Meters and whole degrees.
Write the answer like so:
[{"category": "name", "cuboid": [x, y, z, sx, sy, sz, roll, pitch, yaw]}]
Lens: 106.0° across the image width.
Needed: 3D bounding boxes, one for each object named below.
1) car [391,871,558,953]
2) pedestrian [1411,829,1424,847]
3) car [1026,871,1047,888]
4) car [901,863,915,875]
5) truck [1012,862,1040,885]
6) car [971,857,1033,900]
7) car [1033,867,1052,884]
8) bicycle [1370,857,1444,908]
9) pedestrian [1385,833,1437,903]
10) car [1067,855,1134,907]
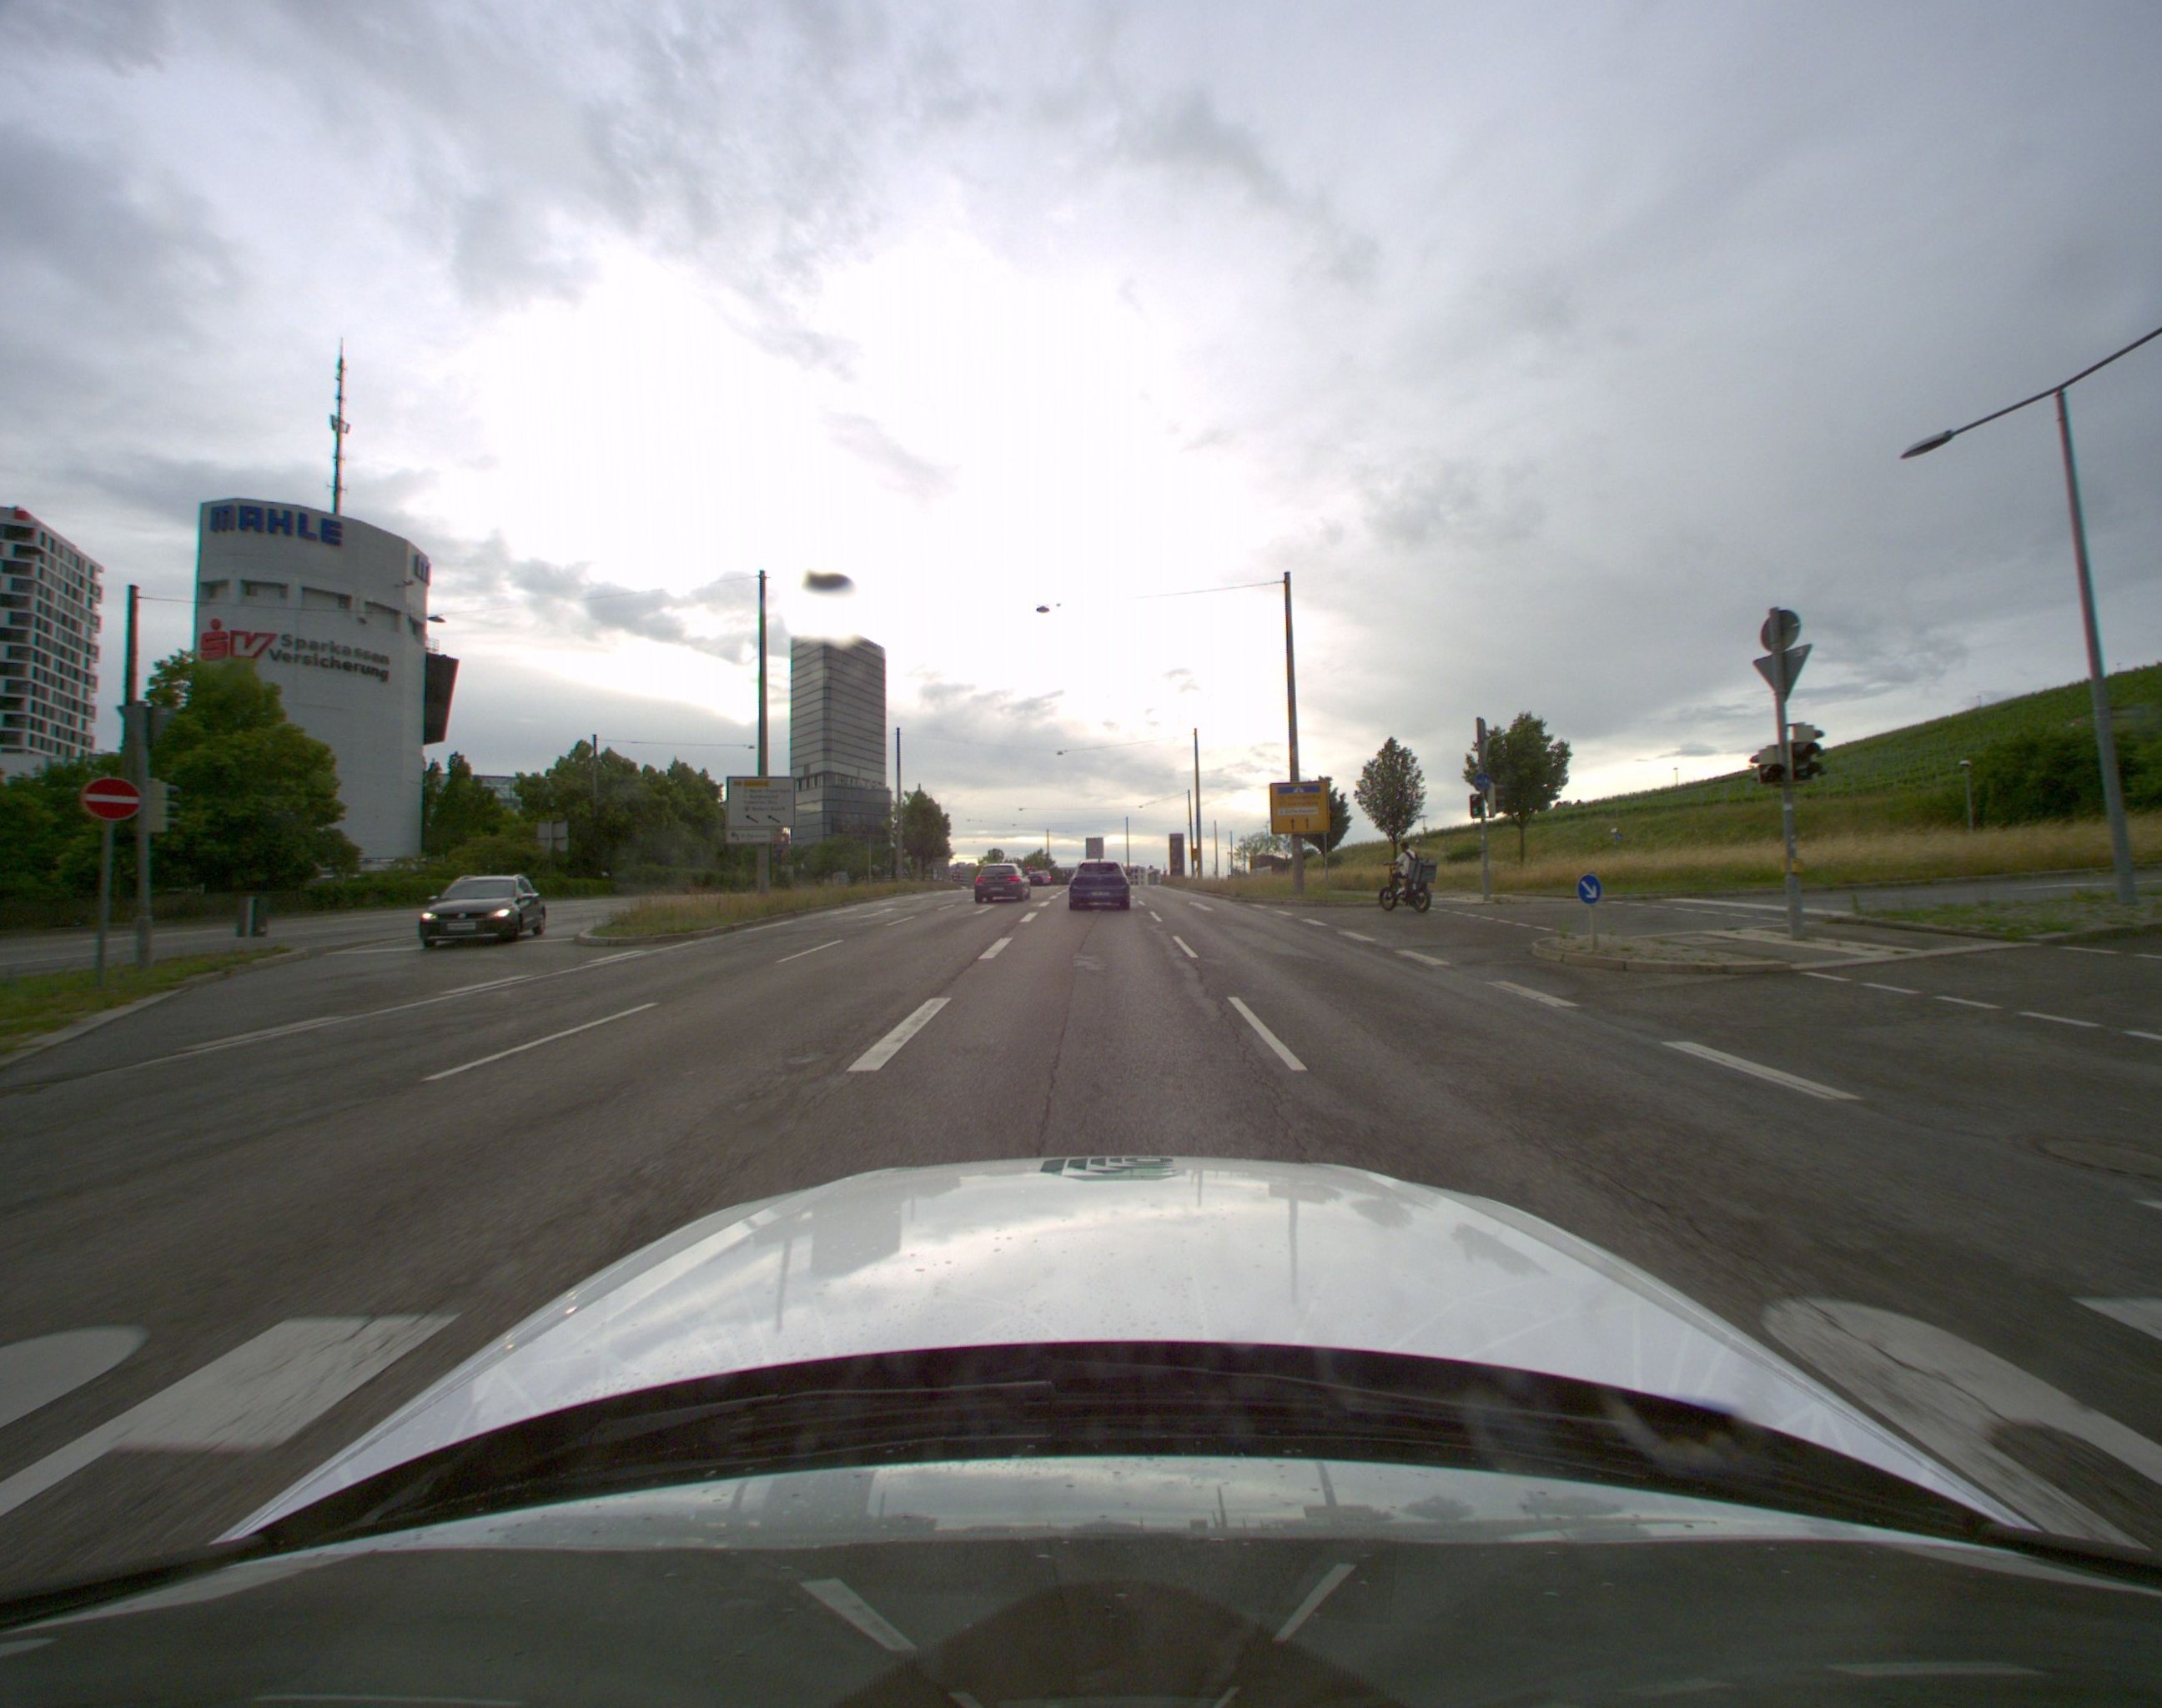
[{"category": "car", "cuboid": [-13.333, 1.184, 18.209, 1.896, 1.507, 3.972, -2, 0, -21]}, {"category": "pedestrian", "cuboid": [38.248, -1.807, 92.499, 0.784, 2.013, 1.044, -3, 0, -31]}, {"category": "car", "cuboid": [-4.456, 2.597, 82.566, 1.714, 1.541, 3.707, 1, 0, 3]}, {"category": "car", "cuboid": [-24.983, 2.192, 117.517, 1.894, 1.658, 4.585, -1, -1, -12]}, {"category": "truck", "cuboid": [-7.781, 2.795, 115.400, 2.672, 3.220, 6.512, 0, -2, -16]}, {"category": "car", "cuboid": [-2.919, 0.878, 30.772, 1.863, 1.461, 3.976, -1, 0, 1]}, {"category": "car", "cuboid": [-4.727, 2.635, 99.023, 1.902, 1.973, 5.080, -2, -3, -6]}, {"category": "bicycle", "cuboid": [7.733, 0.655, 19.401, 0.634, 1.105, 1.743, -5, 1, -16]}, {"category": "pedestrian", "cuboid": [7.794, 0.328, 19.262, 0.634, 1.570, 0.890, -4, 1, -16]}, {"category": "car", "cuboid": [0.633, 0.742, 24.601, 1.831, 1.393, 4.002, -1, 0, 2]}]
